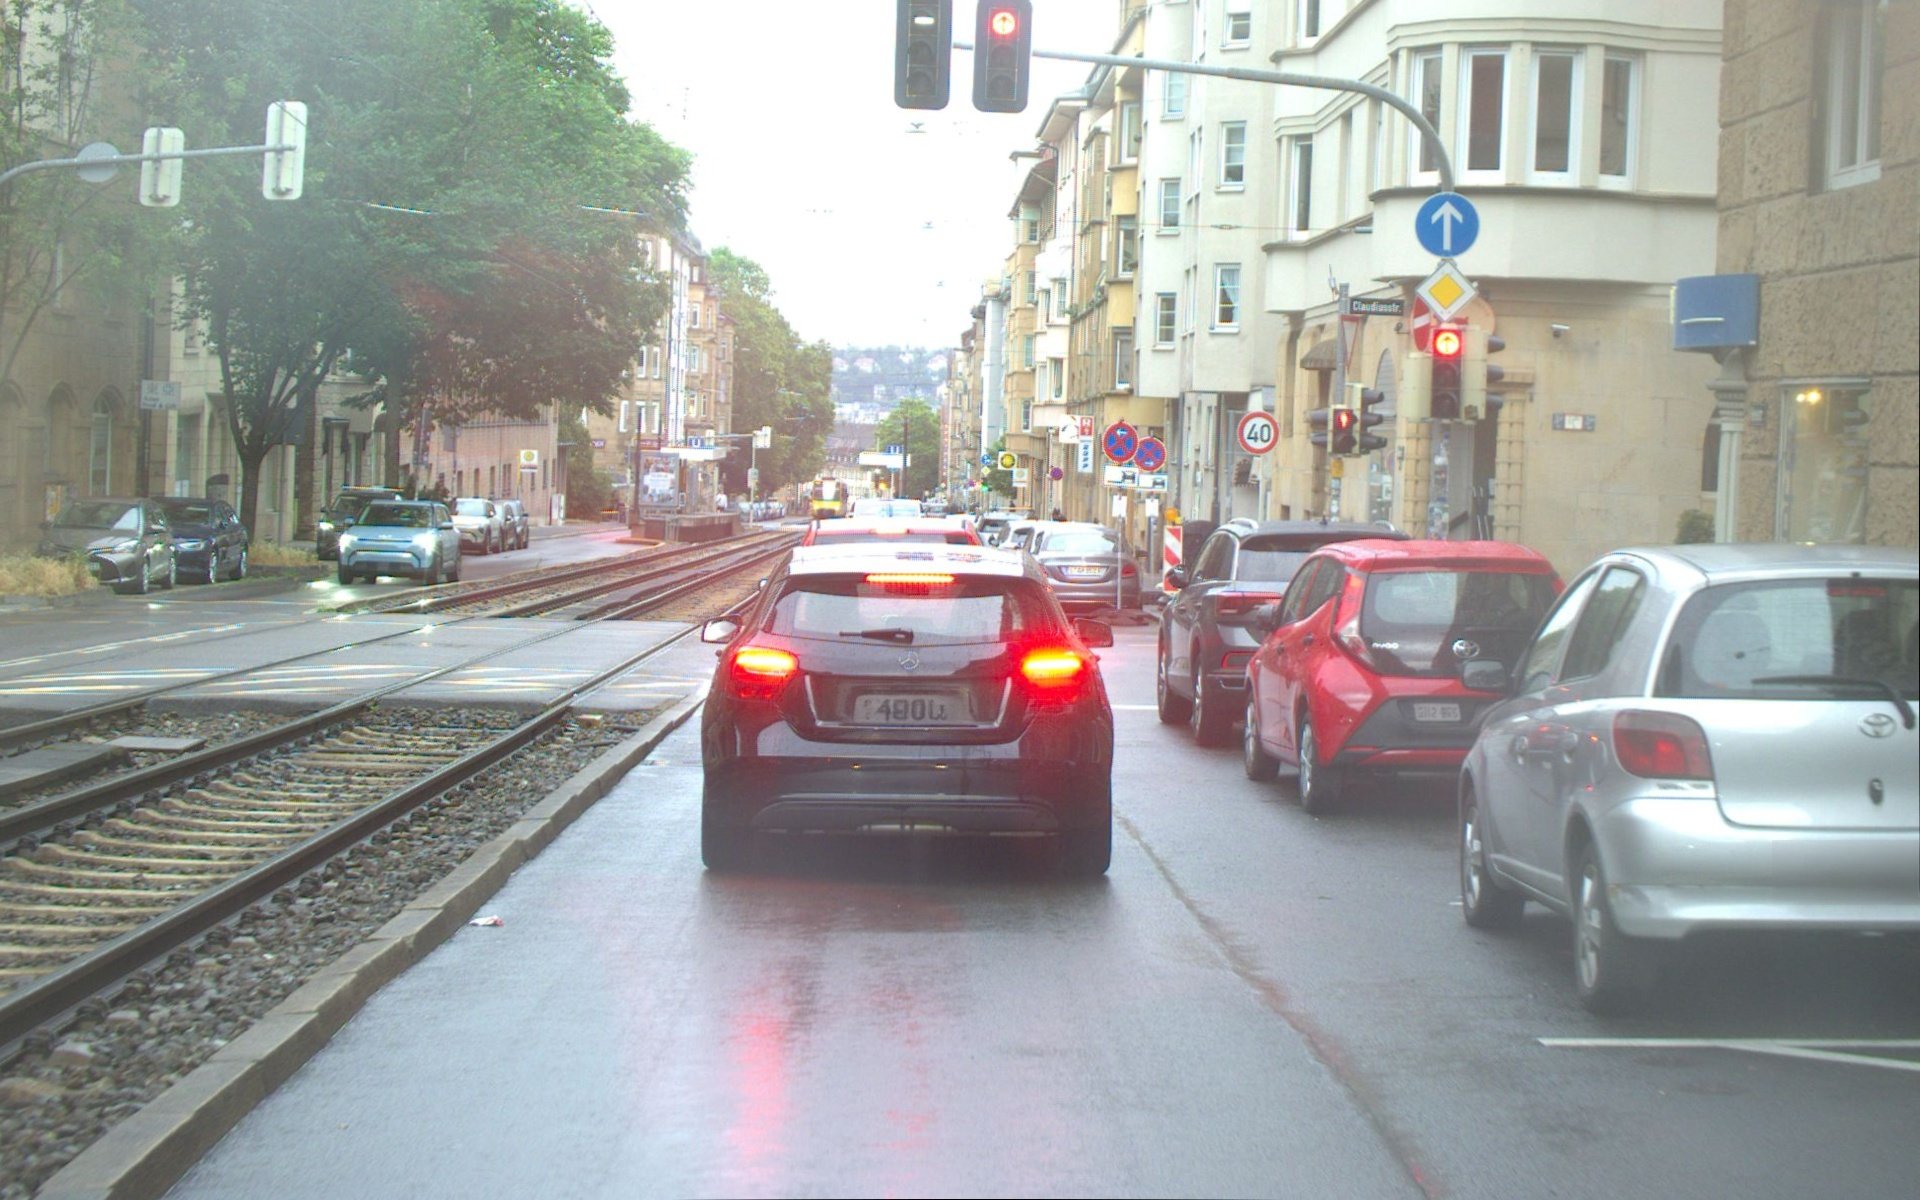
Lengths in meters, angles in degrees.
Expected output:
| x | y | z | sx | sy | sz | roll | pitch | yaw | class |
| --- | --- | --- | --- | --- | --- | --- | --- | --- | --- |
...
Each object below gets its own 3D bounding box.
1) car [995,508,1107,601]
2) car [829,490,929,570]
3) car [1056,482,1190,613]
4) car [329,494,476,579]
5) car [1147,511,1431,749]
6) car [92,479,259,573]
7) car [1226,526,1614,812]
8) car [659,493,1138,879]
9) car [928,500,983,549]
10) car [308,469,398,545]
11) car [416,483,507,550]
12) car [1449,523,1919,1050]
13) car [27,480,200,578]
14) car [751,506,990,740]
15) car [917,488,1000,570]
| x | y | z | sx | sy | sz | roll | pitch | yaw | class |
| --- | --- | --- | --- | --- | --- | --- | --- | --- | --- |
| 1.775 | -0.888 | 68.242 | 1.768 | 1.769 | 4.001 | 1 | 0 | -5 | car |
| -1.829 | -1.571 | 76.150 | 1.921 | 1.649 | 4.001 | 2 | 2 | -5 | car |
| 2.616 | -0.839 | 55.987 | 1.898 | 2.021 | 4.176 | 1 | 0 | -1 | car |
| -10.510 | -1.201 | 65.064 | 1.796 | 1.543 | 3.999 | -1 | 1 | 5 | car |
| 2.280 | 0.151 | 24.695 | 1.549 | 1.503 | 4.000 | 2 | 1 | -1 | car |
| -13.609 | -1.289 | 59.843 | 1.993 | 1.512 | 4.000 | 2 | 1 | -1 | car |
| 2.500 | 0.325 | 19.349 | 1.602 | 1.414 | 3.149 | 2 | 1 | -2 | car |
| -0.314 | 0.334 | 15.988 | 1.946 | 1.559 | 3.643 | 1 | 1 | -2 | car |
| -0.188 | -2.743 | 124.277 | 1.909 | 1.700 | 4.000 | 2 | 1 | -1 | car |
| -14.187 | -2.171 | 80.510 | 1.789 | 1.685 | 4.001 | 2 | 1 | -7 | car |
| -14.192 | -2.371 | 98.031 | 1.993 | 1.787 | 4.000 | 2 | 1 | -1 | car |
| 2.824 | 0.536 | 12.016 | 1.638 | 1.537 | 3.466 | 2 | 1 | -1 | car |
| -13.373 | -1.115 | 54.524 | 1.771 | 1.459 | 4.000 | 1 | 1 | -1 | car |
| -0.618 | 0.107 | 24.959 | 1.536 | 1.505 | 4.000 | 2 | 1 | -1 | car |
| -0.052 | -1.627 | 79.780 | 1.852 | 1.791 | 3.812 | 1 | 0 | -1 | car |
